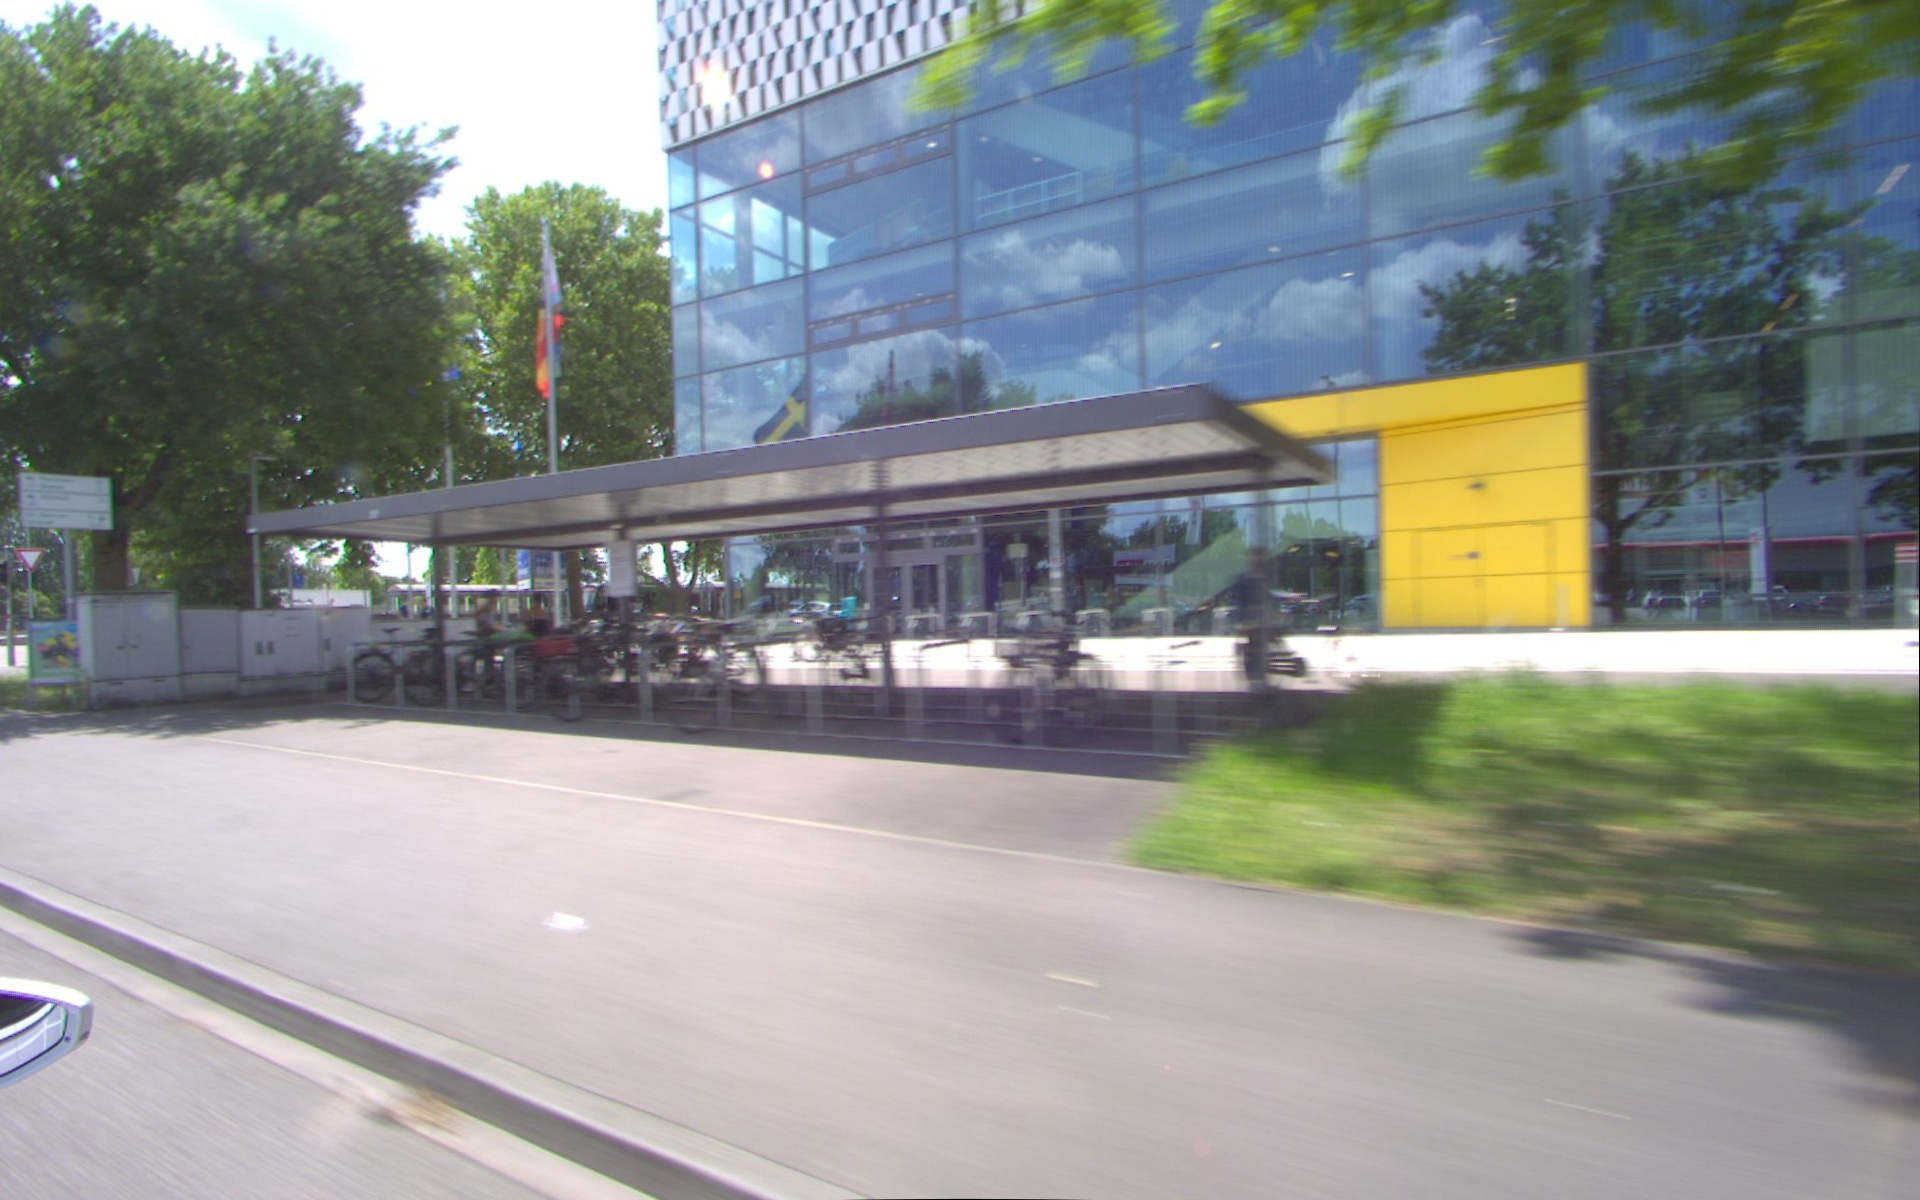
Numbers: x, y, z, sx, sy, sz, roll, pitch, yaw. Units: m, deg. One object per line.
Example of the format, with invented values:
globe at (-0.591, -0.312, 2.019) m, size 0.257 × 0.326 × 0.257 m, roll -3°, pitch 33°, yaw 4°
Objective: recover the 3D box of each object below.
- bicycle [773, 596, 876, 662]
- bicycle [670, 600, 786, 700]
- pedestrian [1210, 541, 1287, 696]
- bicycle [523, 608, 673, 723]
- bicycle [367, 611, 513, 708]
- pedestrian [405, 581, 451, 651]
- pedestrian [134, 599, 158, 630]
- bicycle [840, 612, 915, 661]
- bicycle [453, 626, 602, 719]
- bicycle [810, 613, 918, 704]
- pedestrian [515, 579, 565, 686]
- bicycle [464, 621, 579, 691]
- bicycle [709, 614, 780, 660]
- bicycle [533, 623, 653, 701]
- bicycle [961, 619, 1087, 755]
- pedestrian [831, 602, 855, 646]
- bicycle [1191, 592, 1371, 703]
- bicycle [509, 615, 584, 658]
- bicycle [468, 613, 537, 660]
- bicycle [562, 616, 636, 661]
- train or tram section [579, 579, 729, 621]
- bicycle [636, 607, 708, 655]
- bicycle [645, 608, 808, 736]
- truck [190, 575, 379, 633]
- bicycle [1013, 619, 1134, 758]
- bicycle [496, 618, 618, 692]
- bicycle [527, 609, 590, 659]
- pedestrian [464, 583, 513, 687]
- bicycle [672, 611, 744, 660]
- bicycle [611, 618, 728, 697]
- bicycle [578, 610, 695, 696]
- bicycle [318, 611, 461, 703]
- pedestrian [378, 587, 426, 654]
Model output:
bicycle at (-2.771, 0.563, 20.628) m, size 0.713 × 1.246 × 2.128 m, roll 0°, pitch 2°, yaw 42°
bicycle at (-3.146, 0.641, 13.738) m, size 0.417 × 1.248 × 1.860 m, roll 0°, pitch 1°, yaw 27°
pedestrian at (3.358, 0.204, 11.659) m, size 0.624 × 1.744 × 0.523 m, roll -3°, pitch 1°, yaw -22°
bicycle at (-4.237, 0.728, 11.880) m, size 0.417 × 1.203 × 1.860 m, roll 0°, pitch 1°, yaw 27°
bicycle at (-7.171, 0.781, 13.910) m, size 0.417 × 1.203 × 1.860 m, roll 0°, pitch 1°, yaw 27°
pedestrian at (-16.433, 0.498, 30.952) m, size 1.000 × 2.099 × 0.965 m, roll -2°, pitch 0°, yaw -43°
pedestrian at (-47.918, 0.858, 58.941) m, size 0.725 × 1.831 × 0.925 m, roll 0°, pitch 1°, yaw 31°
bicycle at (-1.646, 0.713, 20.264) m, size 0.464 × 0.893 × 1.857 m, roll 0°, pitch 1°, yaw 32°
bicycle at (-5.416, 0.880, 12.668) m, size 0.417 × 1.008 × 1.860 m, roll 0°, pitch 1°, yaw 27°
bicycle at (-1.201, 0.721, 12.941) m, size 0.417 × 1.008 × 1.859 m, roll -2°, pitch 1°, yaw 27°
pedestrian at (-6.761, 0.510, 16.137) m, size 0.471 × 1.685 × 0.543 m, roll 0°, pitch 1°, yaw 31°
bicycle at (-7.104, 0.880, 16.317) m, size 0.417 × 1.008 × 1.860 m, roll 0°, pitch 1°, yaw 27°
bicycle at (-4.711, 0.797, 21.992) m, size 0.417 × 0.894 × 1.860 m, roll -1°, pitch 1°, yaw 27°
bicycle at (-5.400, 0.880, 14.843) m, size 0.417 × 1.008 × 1.860 m, roll 0°, pitch 1°, yaw 27°
bicycle at (0.629, 0.732, 9.131) m, size 0.417 × 1.008 × 1.859 m, roll 0°, pitch 2°, yaw 27°
pedestrian at (-4.623, 0.937, 39.706) m, size 0.789 × 1.685 × 0.703 m, roll -2°, pitch 0°, yaw 2°
bicycle at (3.630, 0.502, 11.288) m, size 1.980 × 1.123 × 0.575 m, roll -2°, pitch 2°, yaw -20°
bicycle at (-10.620, 0.929, 25.778) m, size 0.418 × 1.008 × 1.857 m, roll 0°, pitch 1°, yaw 33°
bicycle at (-11.862, 0.933, 26.040) m, size 0.495 × 1.122 × 1.923 m, roll -3°, pitch 0°, yaw 14°
bicycle at (-8.740, 0.911, 24.331) m, size 0.457 × 1.008 × 1.860 m, roll 0°, pitch 0°, yaw 28°
train or tram section at (-25.469, 0.083, 84.568) m, size 3.001 × 3.227 × 14.041 m, roll -1°, pitch -1°, yaw 29°
bicycle at (-6.737, 0.717, 23.532) m, size 0.417 × 1.008 × 1.860 m, roll -2°, pitch 1°, yaw 27°
bicycle at (-2.424, 0.711, 10.639) m, size 0.418 × 1.186 × 1.891 m, roll 0°, pitch 2°, yaw 33°
truck at (-51.679, 0.290, 77.248) m, size 2.910 × 4.159 × 11.933 m, roll 0°, pitch 0°, yaw 32°
bicycle at (1.053, 0.726, 8.900) m, size 0.417 × 1.008 × 1.859 m, roll 0°, pitch 2°, yaw 27°
bicycle at (-6.300, 0.829, 15.738) m, size 0.418 × 1.048 × 1.857 m, roll 0°, pitch 1°, yaw 33°
bicycle at (-9.964, 0.827, 24.907) m, size 0.453 × 1.173 × 1.678 m, roll 0°, pitch 1°, yaw 18°
pedestrian at (-7.813, 0.572, 16.585) m, size 0.540 × 1.684 × 0.541 m, roll 0°, pitch 1°, yaw 43°
bicycle at (-5.655, 0.783, 22.554) m, size 0.417 × 1.008 × 1.860 m, roll -1°, pitch 1°, yaw 27°
bicycle at (-4.139, 0.792, 14.427) m, size 0.417 × 1.008 × 1.860 m, roll -2°, pitch 0°, yaw 27°
bicycle at (-4.709, 0.747, 14.724) m, size 0.417 × 1.131 × 1.860 m, roll -1°, pitch 1°, yaw 27°
bicycle at (-8.270, 0.793, 14.602) m, size 0.417 × 1.203 × 1.860 m, roll 0°, pitch 1°, yaw 27°
pedestrian at (-16.561, 0.603, 29.706) m, size 1.000 × 1.927 × 0.965 m, roll -2°, pitch 0°, yaw -44°
